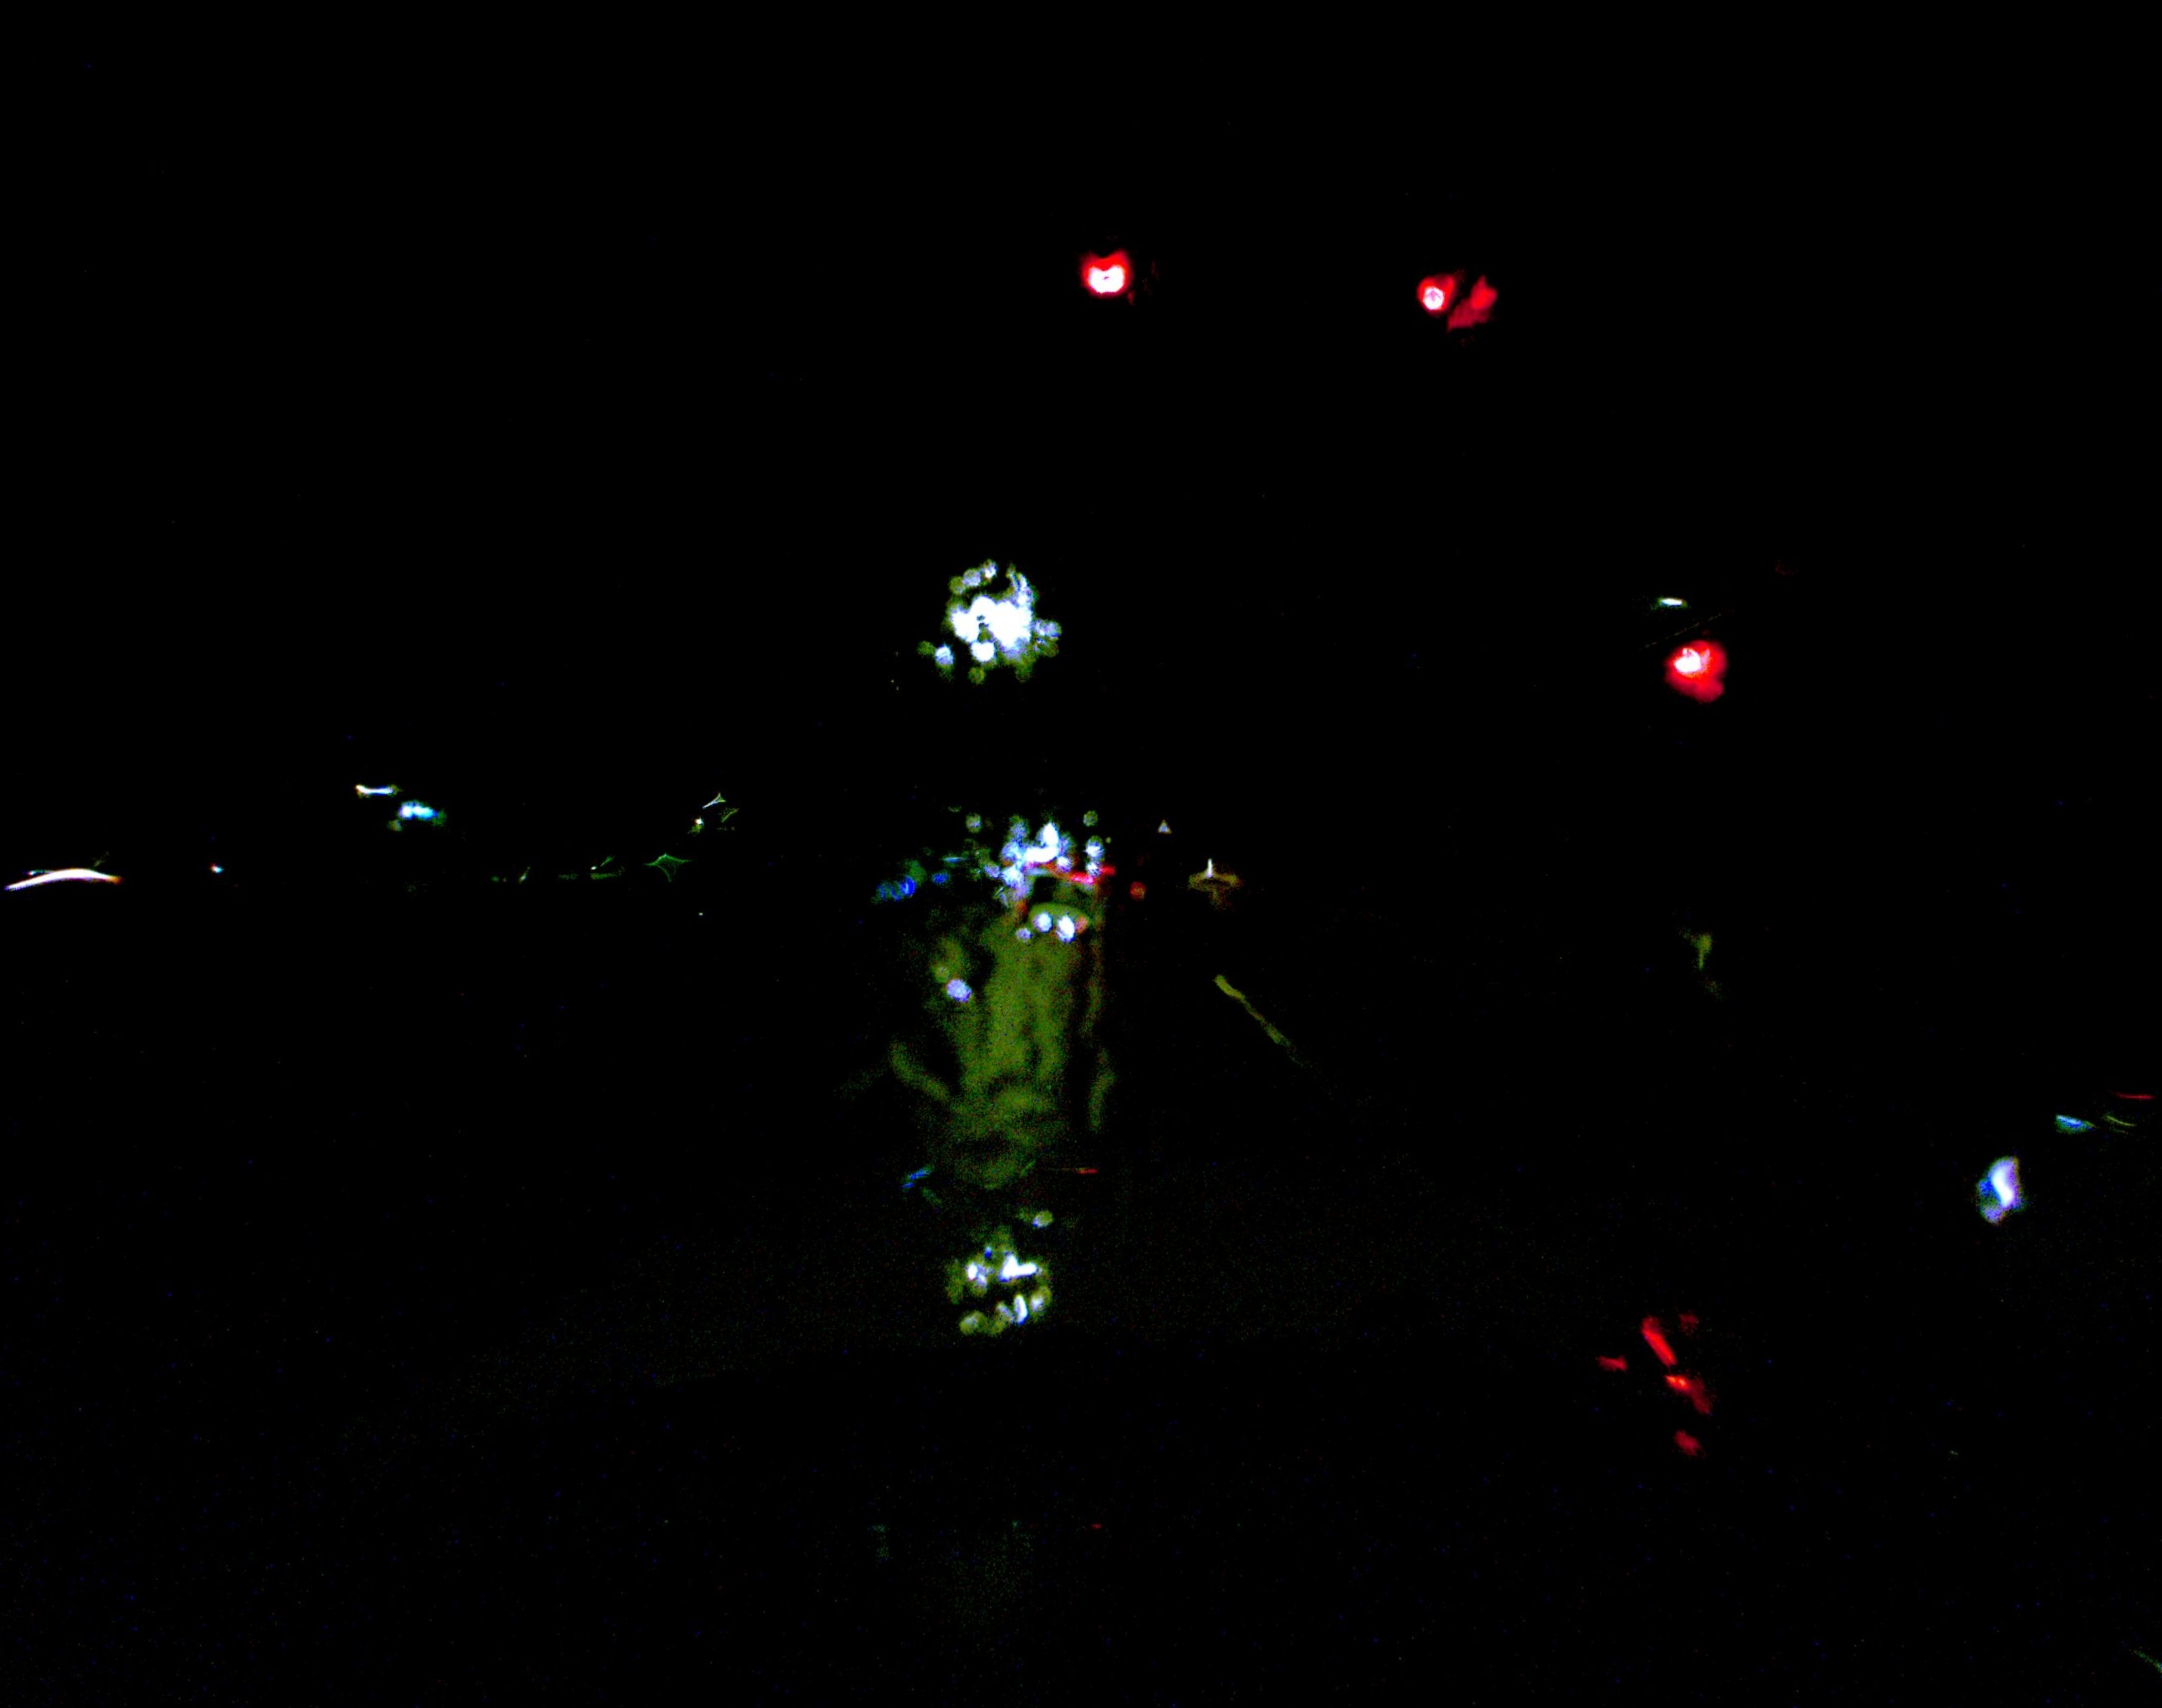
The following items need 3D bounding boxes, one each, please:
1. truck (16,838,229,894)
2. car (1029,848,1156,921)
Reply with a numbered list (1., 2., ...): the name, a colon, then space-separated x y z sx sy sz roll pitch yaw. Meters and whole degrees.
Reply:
1. truck: -41.891 0.512 35.912 1.985 2.271 6.027 0 0 4
2. car: 0.412 0.643 19.755 1.498 1.518 4.399 0 1 23
